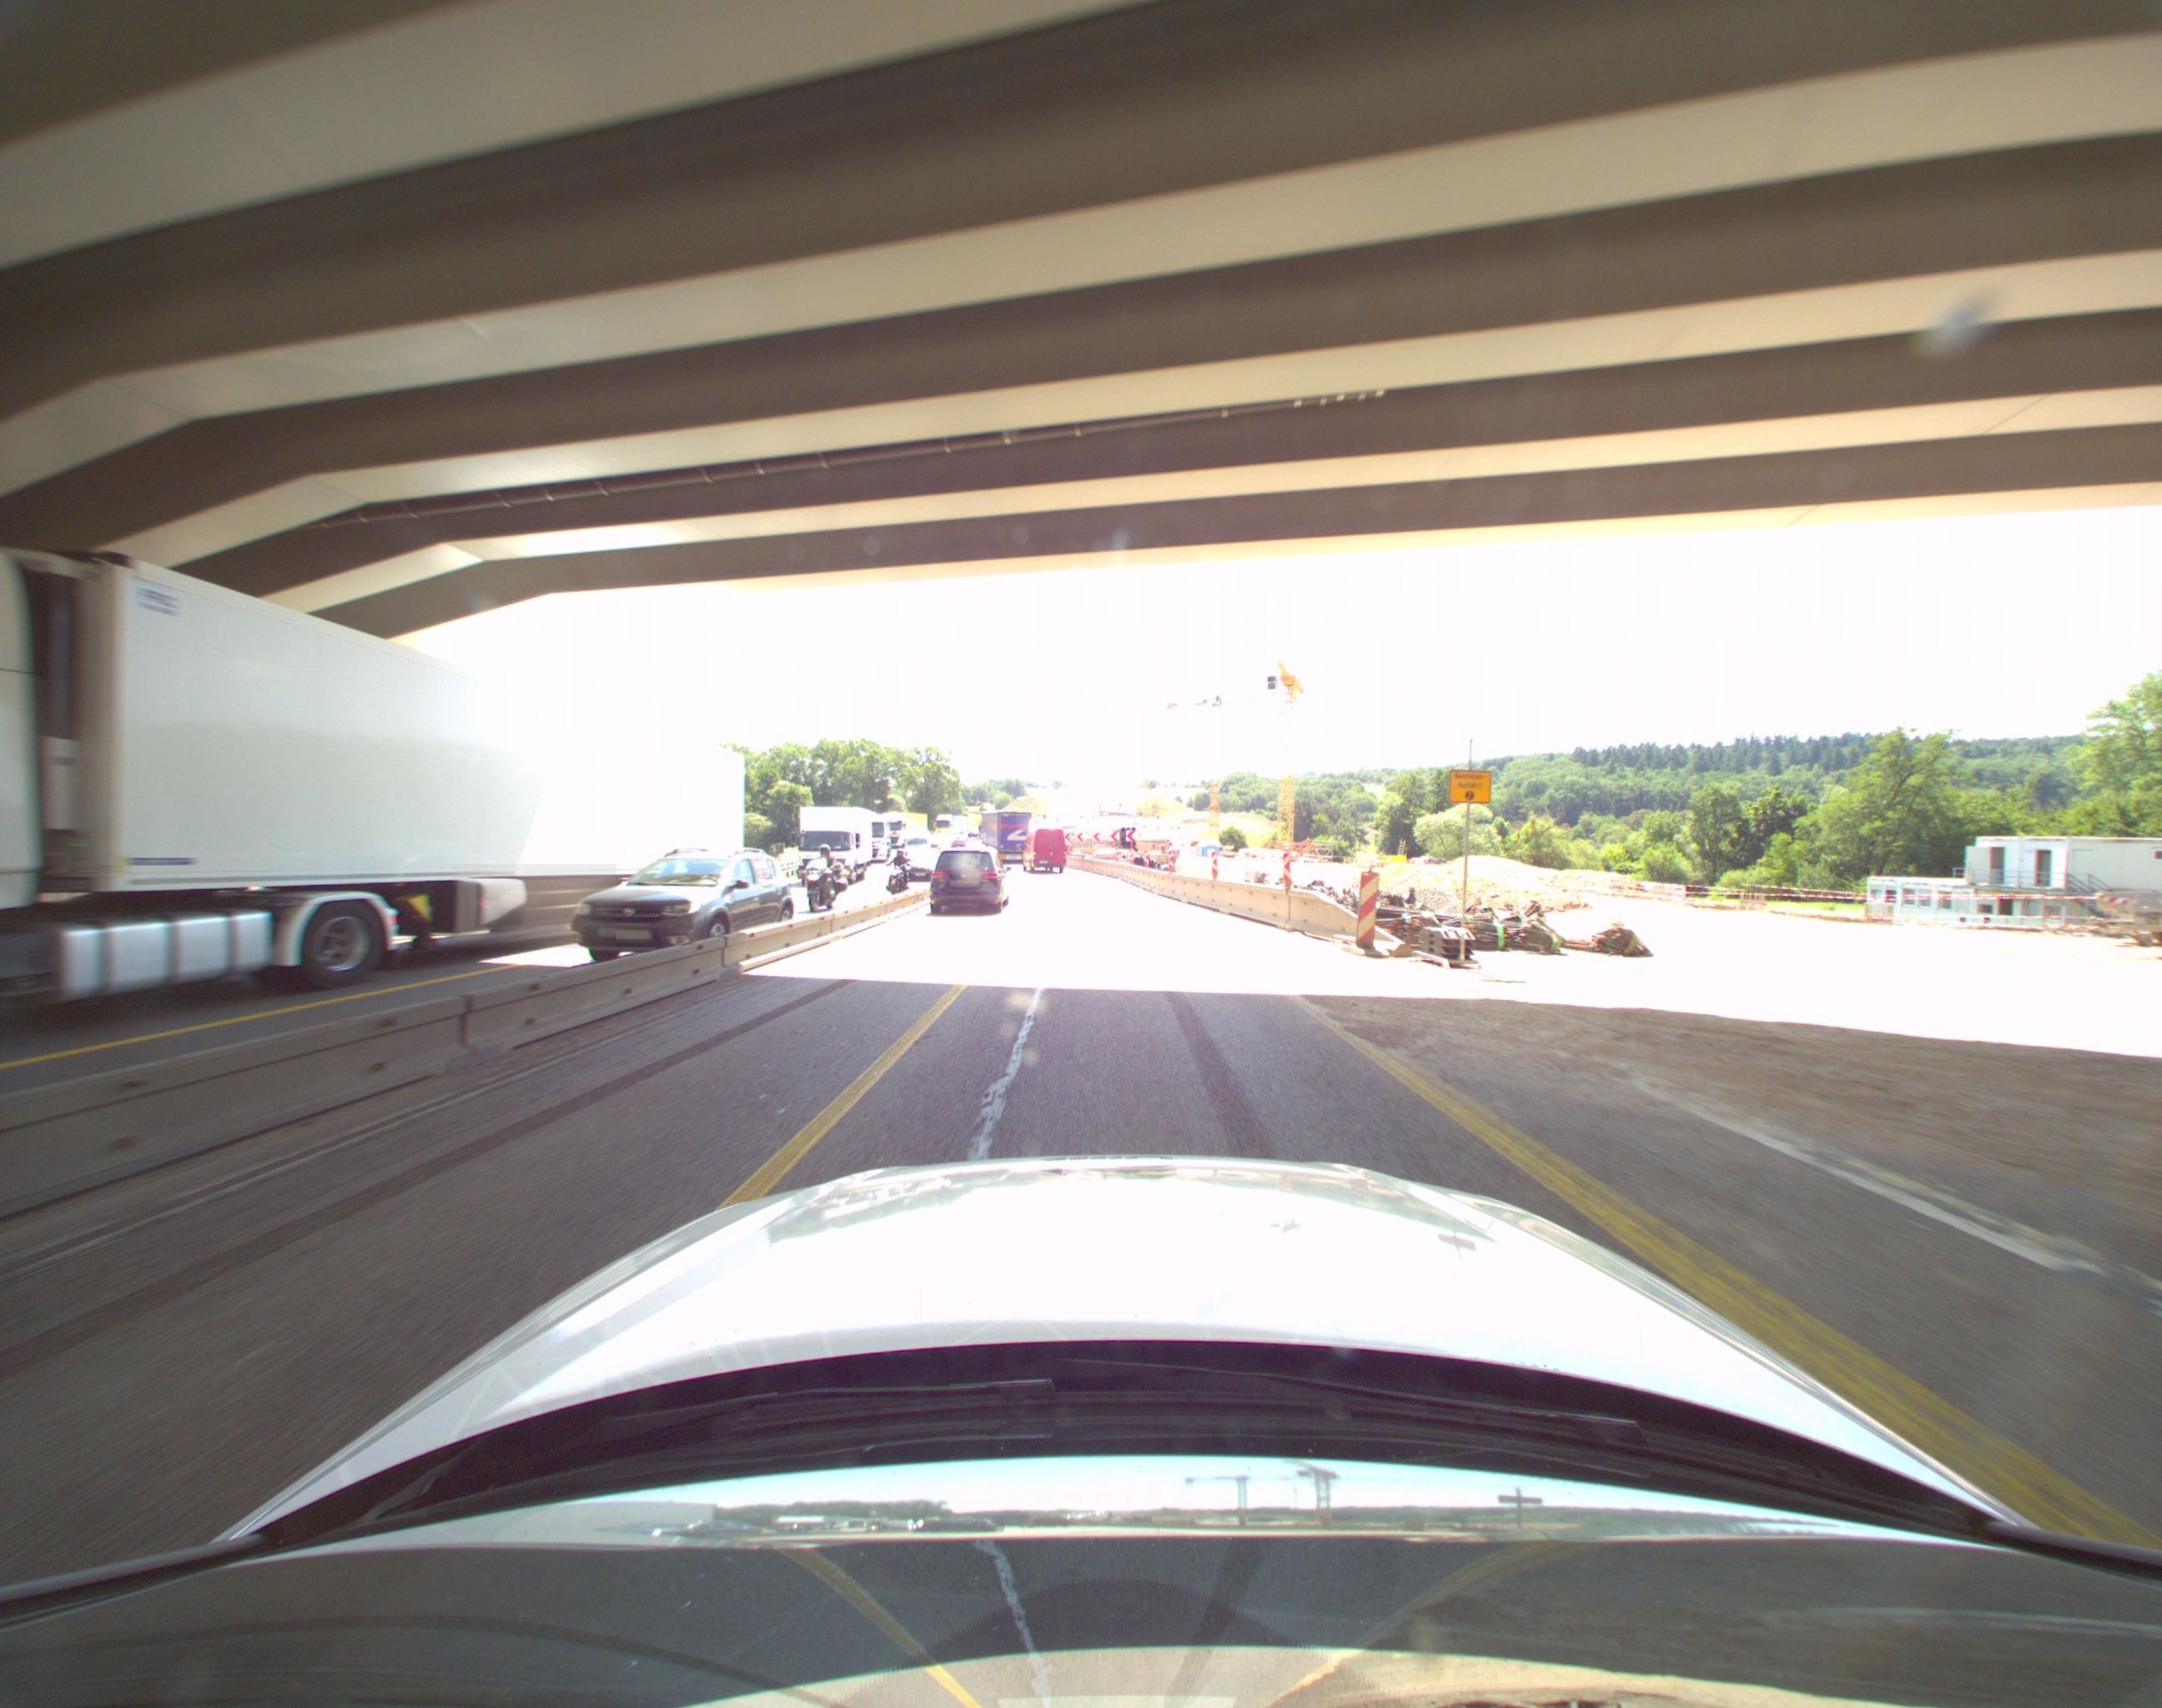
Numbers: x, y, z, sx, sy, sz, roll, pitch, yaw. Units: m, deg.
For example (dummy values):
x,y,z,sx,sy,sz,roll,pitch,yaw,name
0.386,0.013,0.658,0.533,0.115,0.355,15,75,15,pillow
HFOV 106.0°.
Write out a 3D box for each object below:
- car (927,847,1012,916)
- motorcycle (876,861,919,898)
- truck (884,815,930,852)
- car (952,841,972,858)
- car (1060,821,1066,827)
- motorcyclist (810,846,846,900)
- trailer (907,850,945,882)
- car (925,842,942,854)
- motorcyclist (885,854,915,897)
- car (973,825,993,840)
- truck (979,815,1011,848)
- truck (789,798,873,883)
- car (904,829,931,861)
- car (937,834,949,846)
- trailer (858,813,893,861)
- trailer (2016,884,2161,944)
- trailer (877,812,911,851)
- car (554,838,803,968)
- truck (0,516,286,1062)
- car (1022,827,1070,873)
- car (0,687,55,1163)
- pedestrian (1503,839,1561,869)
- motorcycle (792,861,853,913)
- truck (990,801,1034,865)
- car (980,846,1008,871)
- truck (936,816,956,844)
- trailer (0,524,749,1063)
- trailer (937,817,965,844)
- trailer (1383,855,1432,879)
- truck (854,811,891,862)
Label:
x,y,z,sx,sy,sz,roll,pitch,yaw,name
-2.859,0.640,21.655,1.729,1.635,4.387,0,1,-1,car
-6.030,0.822,26.905,0.830,1.150,2.789,0,-1,-1,motorcycle
-21.657,-2.543,102.150,2.799,4.341,15.367,0,1,-1,truck
-11.788,-0.510,80.734,1.833,1.635,4.094,0,1,-8,car
-5.331,-9.006,245.272,1.612,1.699,3.890,1,2,0,car
-6.780,0.519,21.825,0.716,1.416,0.742,0,-2,-1,motorcyclist
-7.489,0.551,39.123,1.666,1.431,3.982,0,0,-13,trailer
-17.368,-0.720,95.931,1.675,1.361,4.493,1,2,-7,car
-6.034,0.702,27.203,0.808,1.416,0.742,0,-2,-1,motorcyclist
-15.460,-3.394,128.087,2.255,2.354,5.165,0,2,3,car
-10.860,-2.843,103.084,3.171,3.989,6.744,0,2,1,truck
-11.603,-0.576,38.507,2.818,3.575,8.467,0,0,-10,truck
-13.353,-0.680,66.563,2.072,2.503,6.458,0,0,-11,car
-18.613,-1.934,109.689,1.637,1.485,3.987,0,3,-10,car
-17.732,-1.400,70.736,2.527,3.789,10.204,1,0,-12,trailer
23.866,1.268,17.701,4.696,1.220,2.056,0,-2,1,trailer
-21.314,-2.556,93.118,2.858,4.229,5.215,0,1,-2,trailer
-5.862,0.610,12.479,1.740,1.670,4.079,0,0,1,car
-9.449,-0.507,5.727,2.866,4.051,4.881,1,0,-2,truck
-2.191,-0.234,48.768,2.150,2.611,5.419,0,0,-11,car
-6.268,0.325,1.132,1.974,2.330,6.056,0,-1,0,car
32.391,0.027,58.644,1.987,2.014,3.999,0,-2,0,pedestrian
-6.783,0.821,21.527,0.700,1.279,2.735,0,0,1,motorcycle
-5.697,-1.731,65.903,2.945,4.944,6.719,0,2,-10,truck
-5.901,0.265,55.082,1.832,1.635,4.379,0,1,-7,car
-21.449,-3.788,129.493,2.619,4.270,4.728,1,1,-3,truck
-9.617,-0.509,13.208,2.869,4.040,14.347,1,0,-2,trailer
-21.617,-3.940,136.358,2.640,4.292,13.304,1,1,-1,trailer
22.003,0.871,55.029,1.619,1.486,3.823,1,0,-2,trailer
-16.427,-1.335,64.392,2.535,3.821,4.930,1,0,-12,truck
